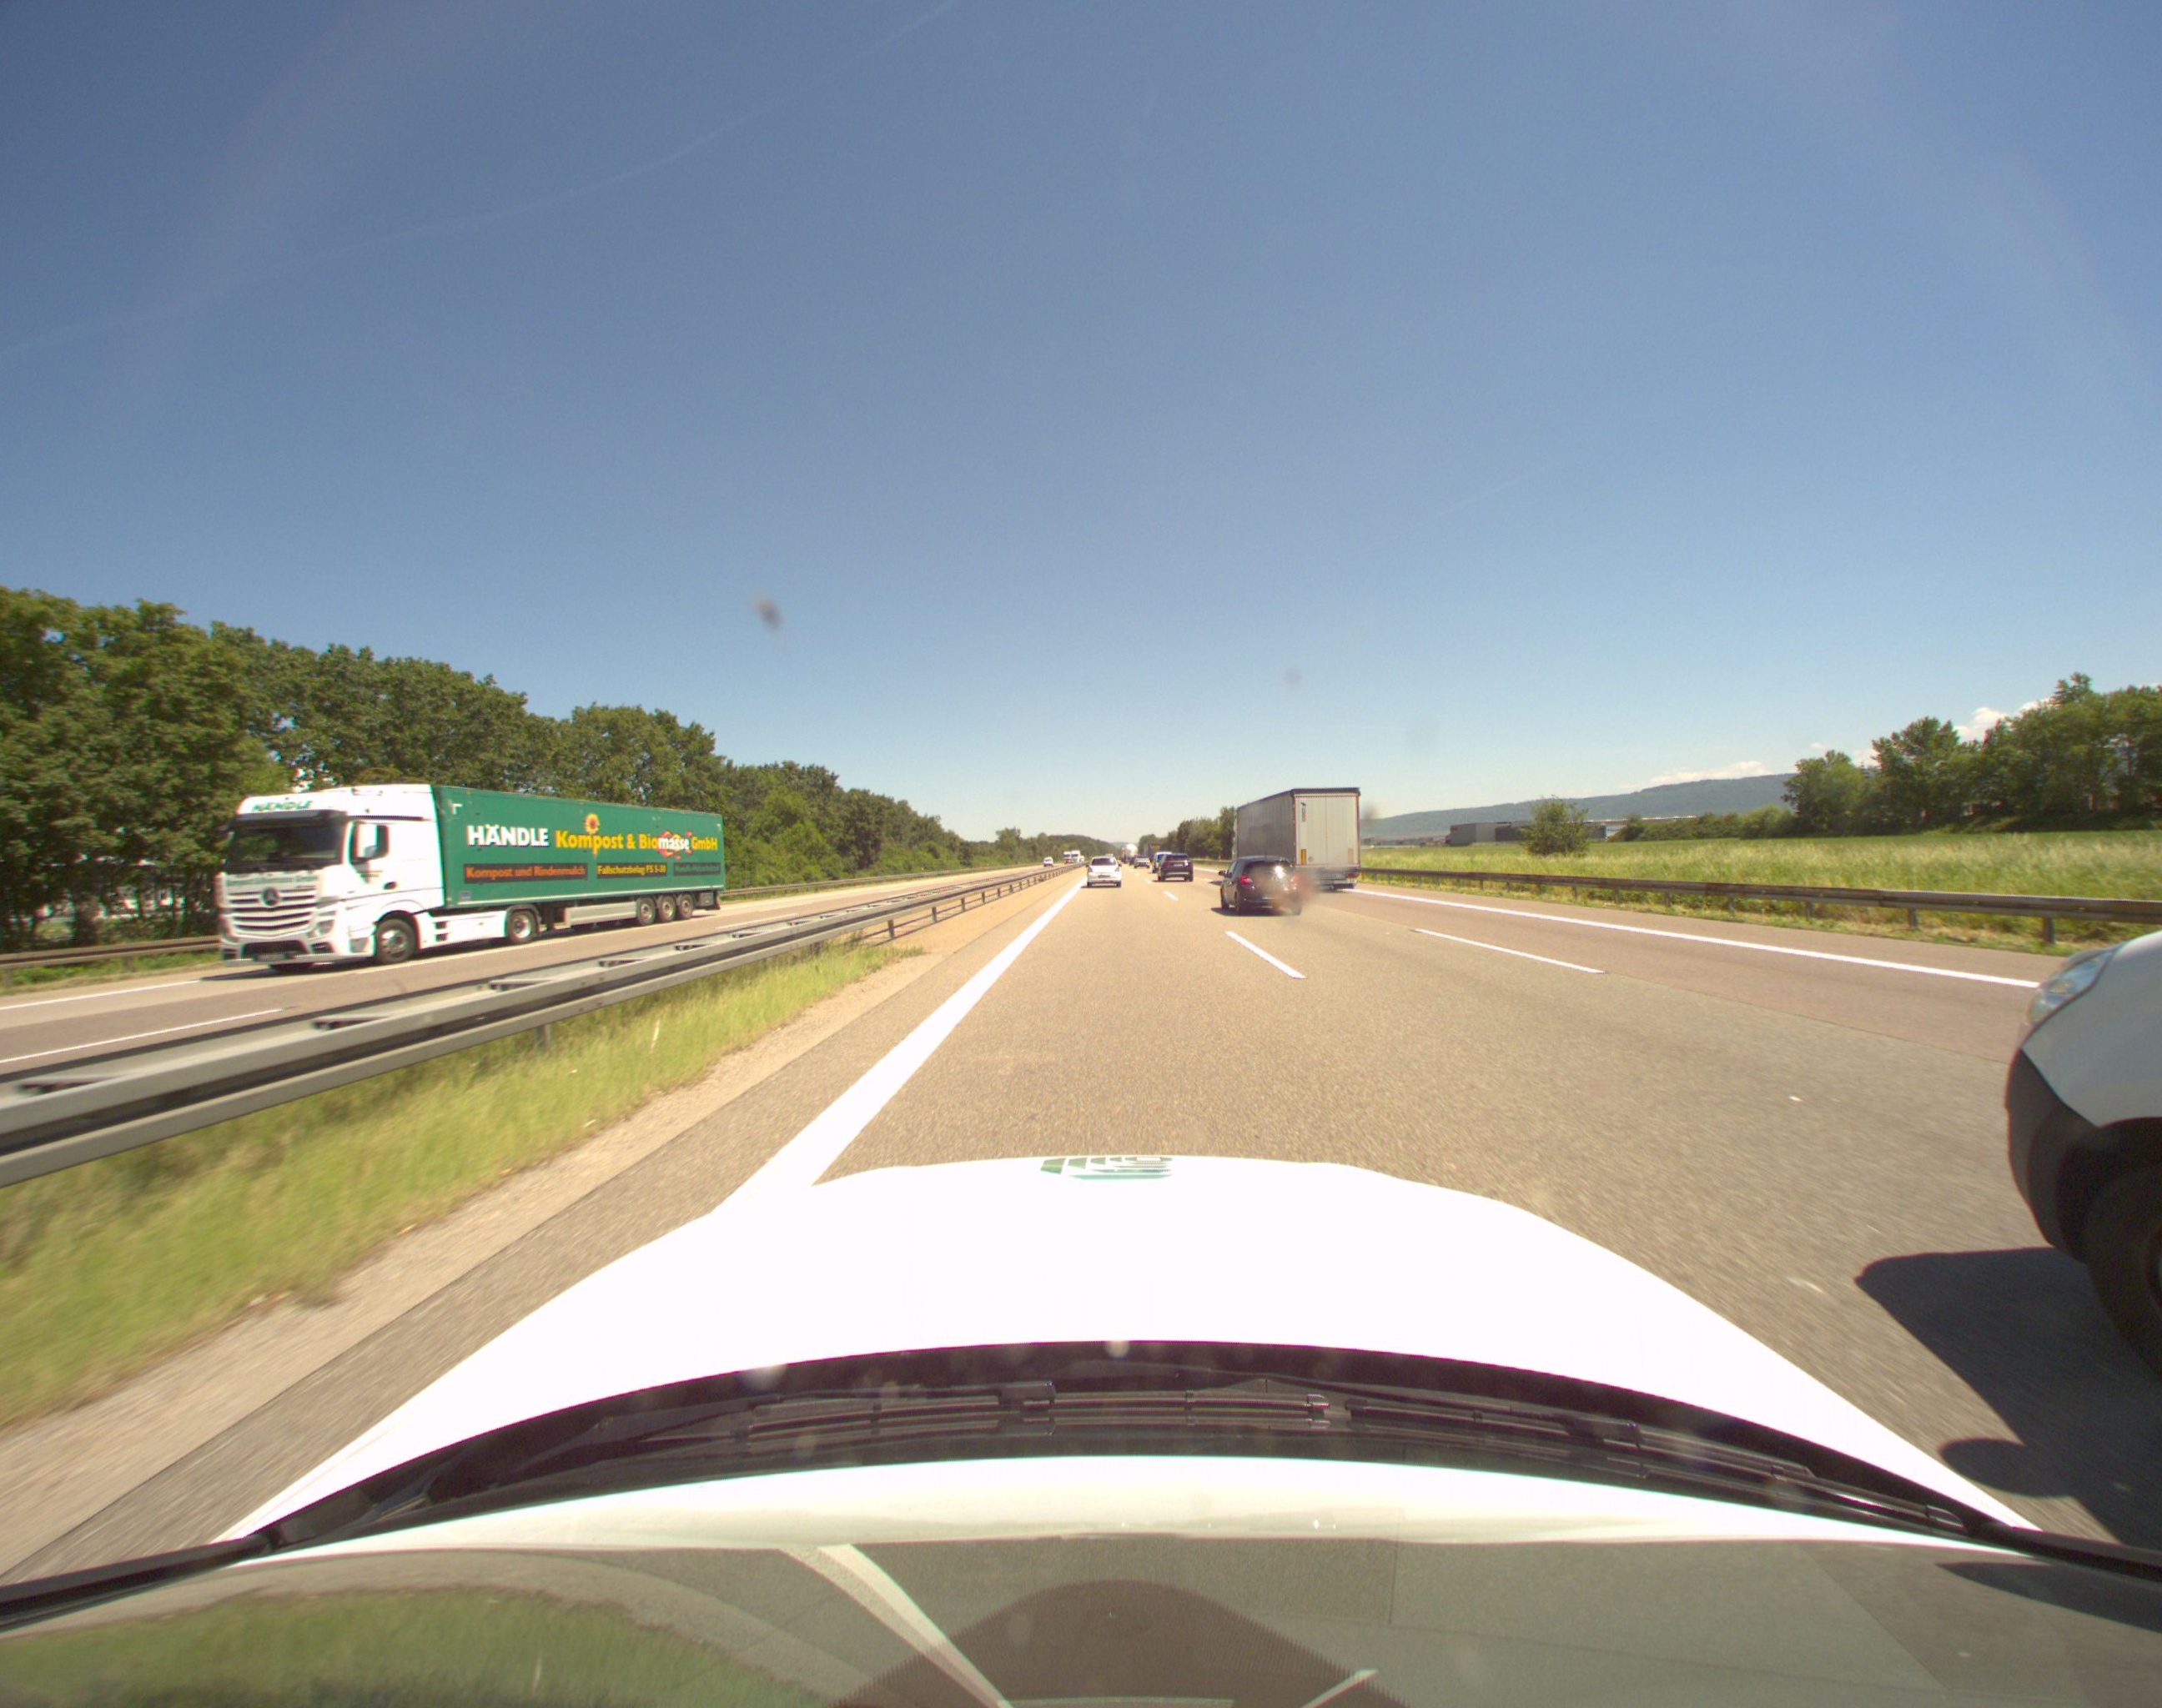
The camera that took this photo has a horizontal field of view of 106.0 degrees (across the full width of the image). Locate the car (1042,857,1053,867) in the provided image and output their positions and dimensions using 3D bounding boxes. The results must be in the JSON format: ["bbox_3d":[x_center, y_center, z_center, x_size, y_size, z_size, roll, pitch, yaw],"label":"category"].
[{"bbox_3d":[-6.882,1.634,167.527,1.781,2.013,4.383,-4,-1,3],"label":"car"}]

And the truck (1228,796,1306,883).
[{"bbox_3d":[9.903,-0.679,44.058,2.799,4.304,7.197,-1,-1,2],"label":"truck"}]

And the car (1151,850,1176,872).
[{"bbox_3d":[7.315,0.653,72.344,1.846,1.863,4.703,-1,0,1],"label":"car"}]

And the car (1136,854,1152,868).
[{"bbox_3d":[7.745,0.855,100.668,1.795,1.603,4.383,-1,0,2],"label":"car"}]

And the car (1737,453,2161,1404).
[{"bbox_3d":[3.875,0.181,0.575,2.145,2.508,5.948,-1,0,2],"label":"car"}]

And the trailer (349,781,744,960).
[{"bbox_3d":[-15.552,0.443,26.199,2.865,4.043,13.690,-4,-1,3],"label":"trailer"}]

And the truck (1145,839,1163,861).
[{"bbox_3d":[14.674,-0.749,164.682,3.096,4.139,15.523,-1,0,3],"label":"truck"}]

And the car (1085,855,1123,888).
[{"bbox_3d":[1.155,0.842,40.826,1.792,1.552,3.611,-1,0,2],"label":"car"}]

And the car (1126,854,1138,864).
[{"bbox_3d":[8.045,0.831,128.315,1.843,1.523,3.959,-1,0,2],"label":"car"}]

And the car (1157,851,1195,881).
[{"bbox_3d":[5.596,0.689,48.516,1.860,1.675,4.747,-1,0,2],"label":"car"}]

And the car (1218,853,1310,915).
[{"bbox_3d":[4.705,0.742,21.359,1.681,1.473,3.433,-1,0,1],"label":"car"}]

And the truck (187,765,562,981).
[{"bbox_3d":[-15.908,0.398,19.155,2.865,4.043,6.336,-4,-1,3],"label":"truck"}]

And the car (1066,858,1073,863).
[{"bbox_3d":[-3.455,1.928,237.405,1.766,1.417,4.111,-4,0,1],"label":"car"}]

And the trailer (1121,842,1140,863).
[{"bbox_3d":[9.930,-0.256,164.066,2.903,4.069,12.412,0,0,-1],"label":"trailer"}]

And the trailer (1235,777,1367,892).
[{"bbox_3d":[9.655,-0.691,37.885,2.799,4.304,14.261,-1,0,2],"label":"trailer"}]

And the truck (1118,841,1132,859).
[{"bbox_3d":[11.129,-0.941,204.748,3.380,4.214,12.093,-1,0,3],"label":"truck"}]
